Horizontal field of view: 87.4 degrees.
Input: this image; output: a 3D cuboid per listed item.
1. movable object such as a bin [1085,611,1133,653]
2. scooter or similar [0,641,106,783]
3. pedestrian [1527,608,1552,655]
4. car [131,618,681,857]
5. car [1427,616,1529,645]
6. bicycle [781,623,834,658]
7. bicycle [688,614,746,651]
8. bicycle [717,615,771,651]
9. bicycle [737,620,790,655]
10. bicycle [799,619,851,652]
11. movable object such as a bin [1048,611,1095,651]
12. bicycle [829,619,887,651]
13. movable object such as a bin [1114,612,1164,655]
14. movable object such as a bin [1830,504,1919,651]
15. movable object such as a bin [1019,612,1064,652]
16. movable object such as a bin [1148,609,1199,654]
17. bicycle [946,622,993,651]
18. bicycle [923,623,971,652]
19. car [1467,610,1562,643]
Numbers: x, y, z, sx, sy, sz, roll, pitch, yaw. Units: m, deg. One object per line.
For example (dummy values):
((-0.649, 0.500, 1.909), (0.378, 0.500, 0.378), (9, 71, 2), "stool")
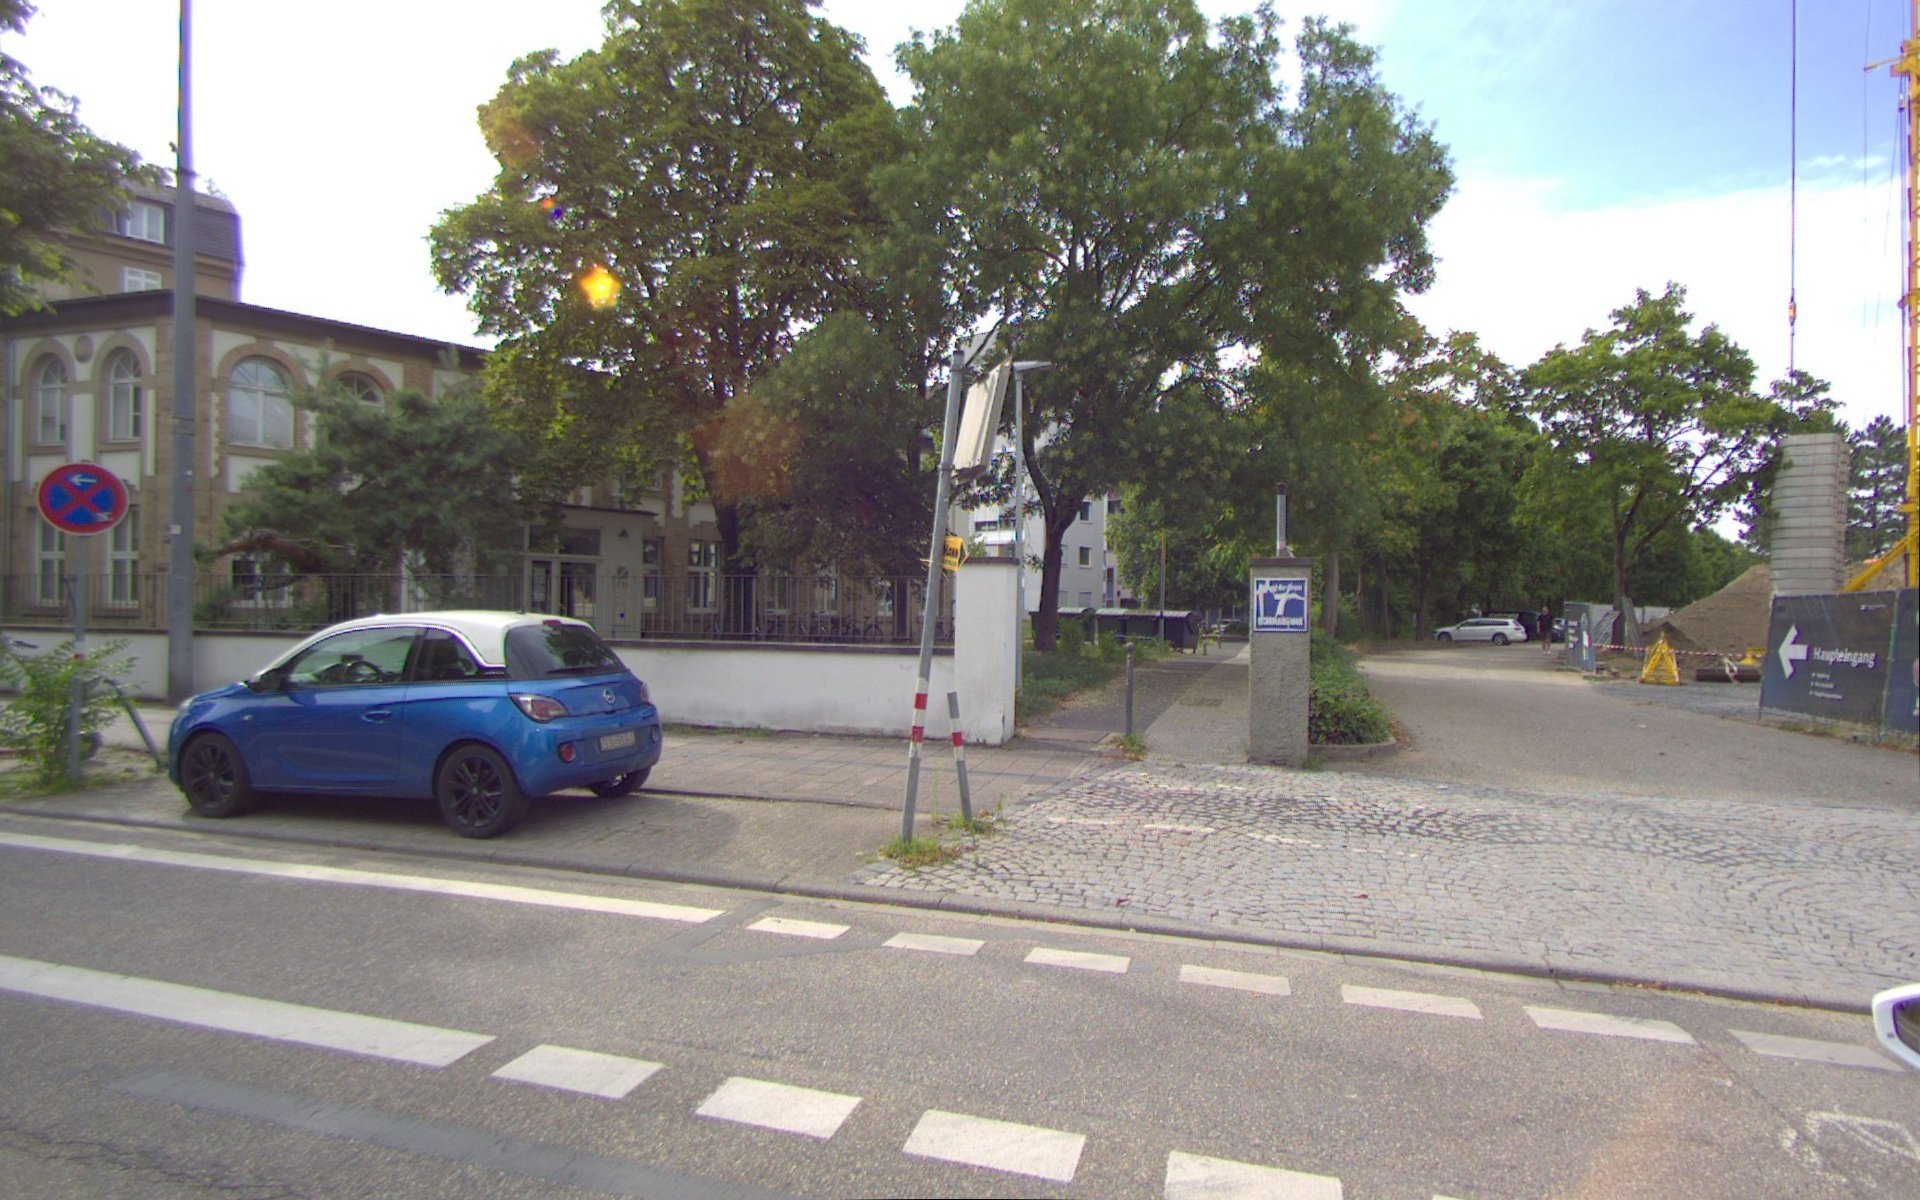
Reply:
((5.317, 1.141, 35.793), (1.266, 1.449, 1.115), (1, -1, 44), "movable object such as a bin")
((-8.387, 0.997, 9.035), (0.363, 1.183, 1.000), (0, 2, 40), "scooter or similar")
((22.450, 1.213, 38.899), (0.738, 1.813, 0.728), (1, 0, 38), "pedestrian")
((-4.141, 0.898, 7.660), (3.530, 1.484, 1.634), (0, -1, 16), "car")
((28.641, 1.665, 55.631), (4.733, 1.508, 1.992), (1, -1, 38), "car")
((-5.032, 1.319, 33.081), (1.949, 1.057, 0.591), (0, 0, 42), "bicycle")
((-7.435, 0.985, 30.705), (1.945, 1.057, 0.593), (0, 0, 34), "bicycle")
((-6.745, 1.000, 31.311), (1.949, 1.057, 0.591), (0, 0, 42), "bicycle")
((-6.260, 1.173, 31.923), (1.949, 1.057, 0.591), (0, 0, 42), "bicycle")
((-4.547, 1.185, 33.698), (1.949, 1.057, 0.591), (0, 0, 42), "bicycle")
((4.080, 1.126, 36.798), (1.266, 1.449, 1.115), (1, -1, 44), "movable object such as a bin")
((-3.581, 1.217, 35.249), (1.938, 1.057, 0.595), (0, 0, 18), "bicycle")
((6.198, 1.139, 34.767), (1.266, 1.449, 1.115), (1, -1, 44), "movable object such as a bin")
((48.598, -0.924, 50.009), (10.838, 6.758, 3.833), (1, 0, -25), "movable object such as a bin")
((3.074, 1.205, 37.729), (1.266, 1.449, 1.115), (1, -1, 44), "movable object such as a bin")
((7.142, 1.057, 33.548), (1.266, 1.449, 1.115), (1, -1, 44), "movable object such as a bin")
((0.357, 1.416, 39.018), (1.949, 1.057, 0.591), (0, 0, 42), "bicycle")
((-0.507, 1.407, 37.975), (1.949, 1.057, 0.591), (0, 0, 42), "bicycle")
((35.661, 1.707, 64.682), (4.990, 1.979, 1.989), (0, -1, 42), "car")
